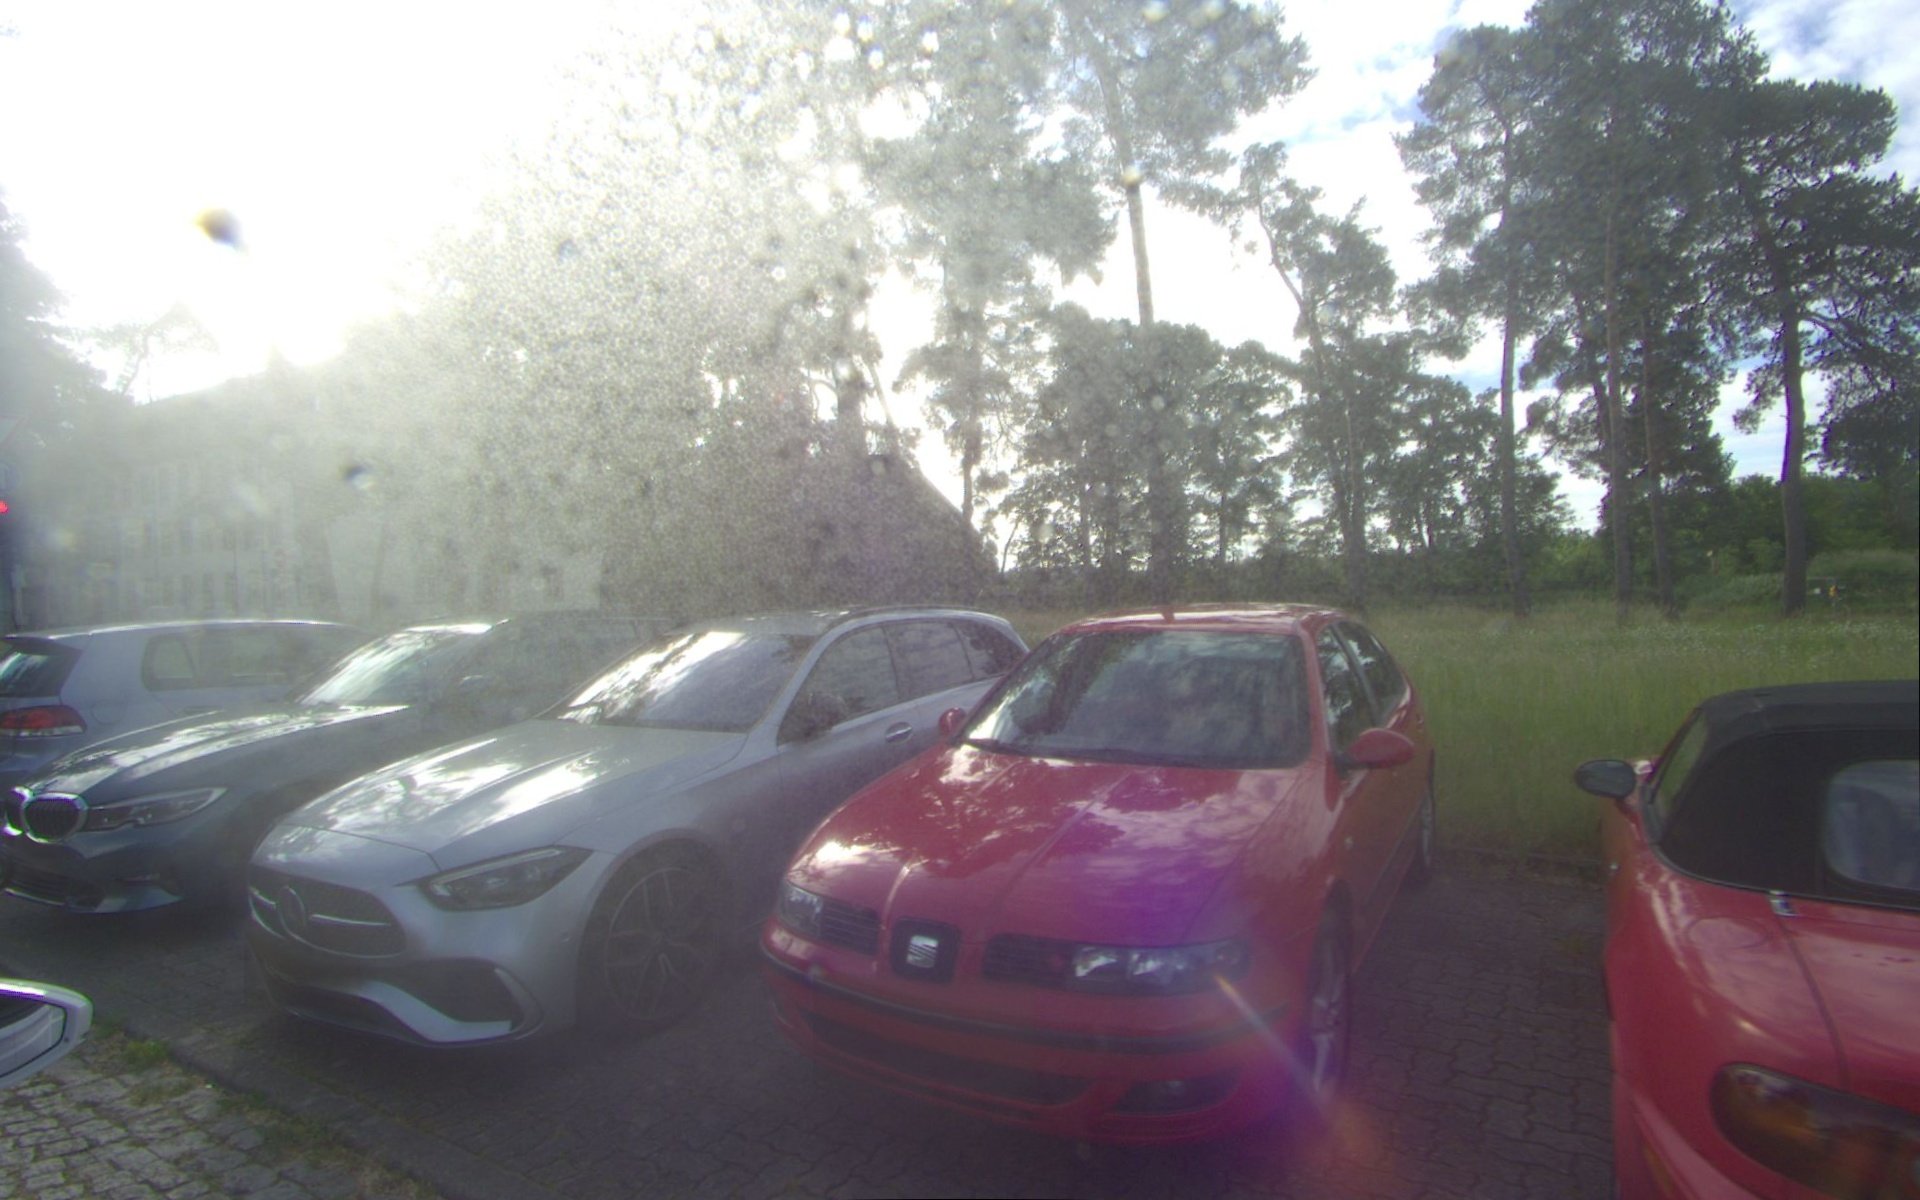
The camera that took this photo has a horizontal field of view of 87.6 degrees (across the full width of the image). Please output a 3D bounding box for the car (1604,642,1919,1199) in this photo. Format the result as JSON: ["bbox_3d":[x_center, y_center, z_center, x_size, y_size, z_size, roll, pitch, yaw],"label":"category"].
[{"bbox_3d":[2.636,0.842,2.555,1.586,1.303,3.537,-2,-1,34],"label":"car"}]

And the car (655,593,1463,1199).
[{"bbox_3d":[0.931,0.737,4.211,1.696,1.441,4.098,-2,-1,32],"label":"car"}]

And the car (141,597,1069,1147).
[{"bbox_3d":[-1.140,0.766,5.087,1.741,1.448,4.317,-1,1,30],"label":"car"}]

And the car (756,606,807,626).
[{"bbox_3d":[-13.365,1.250,75.234,1.541,1.416,3.981,-1,-2,32],"label":"car"}]

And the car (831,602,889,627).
[{"bbox_3d":[-6.968,0.985,69.892,3.923,1.622,1.999,-1,0,-5],"label":"car"}]

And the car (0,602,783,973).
[{"bbox_3d":[-3.311,0.805,6.605,1.780,1.503,4.507,-1,0,29],"label":"car"}]

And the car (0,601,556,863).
[{"bbox_3d":[-5.435,0.807,8.059,1.618,1.490,3.835,-1,1,31],"label":"car"}]
